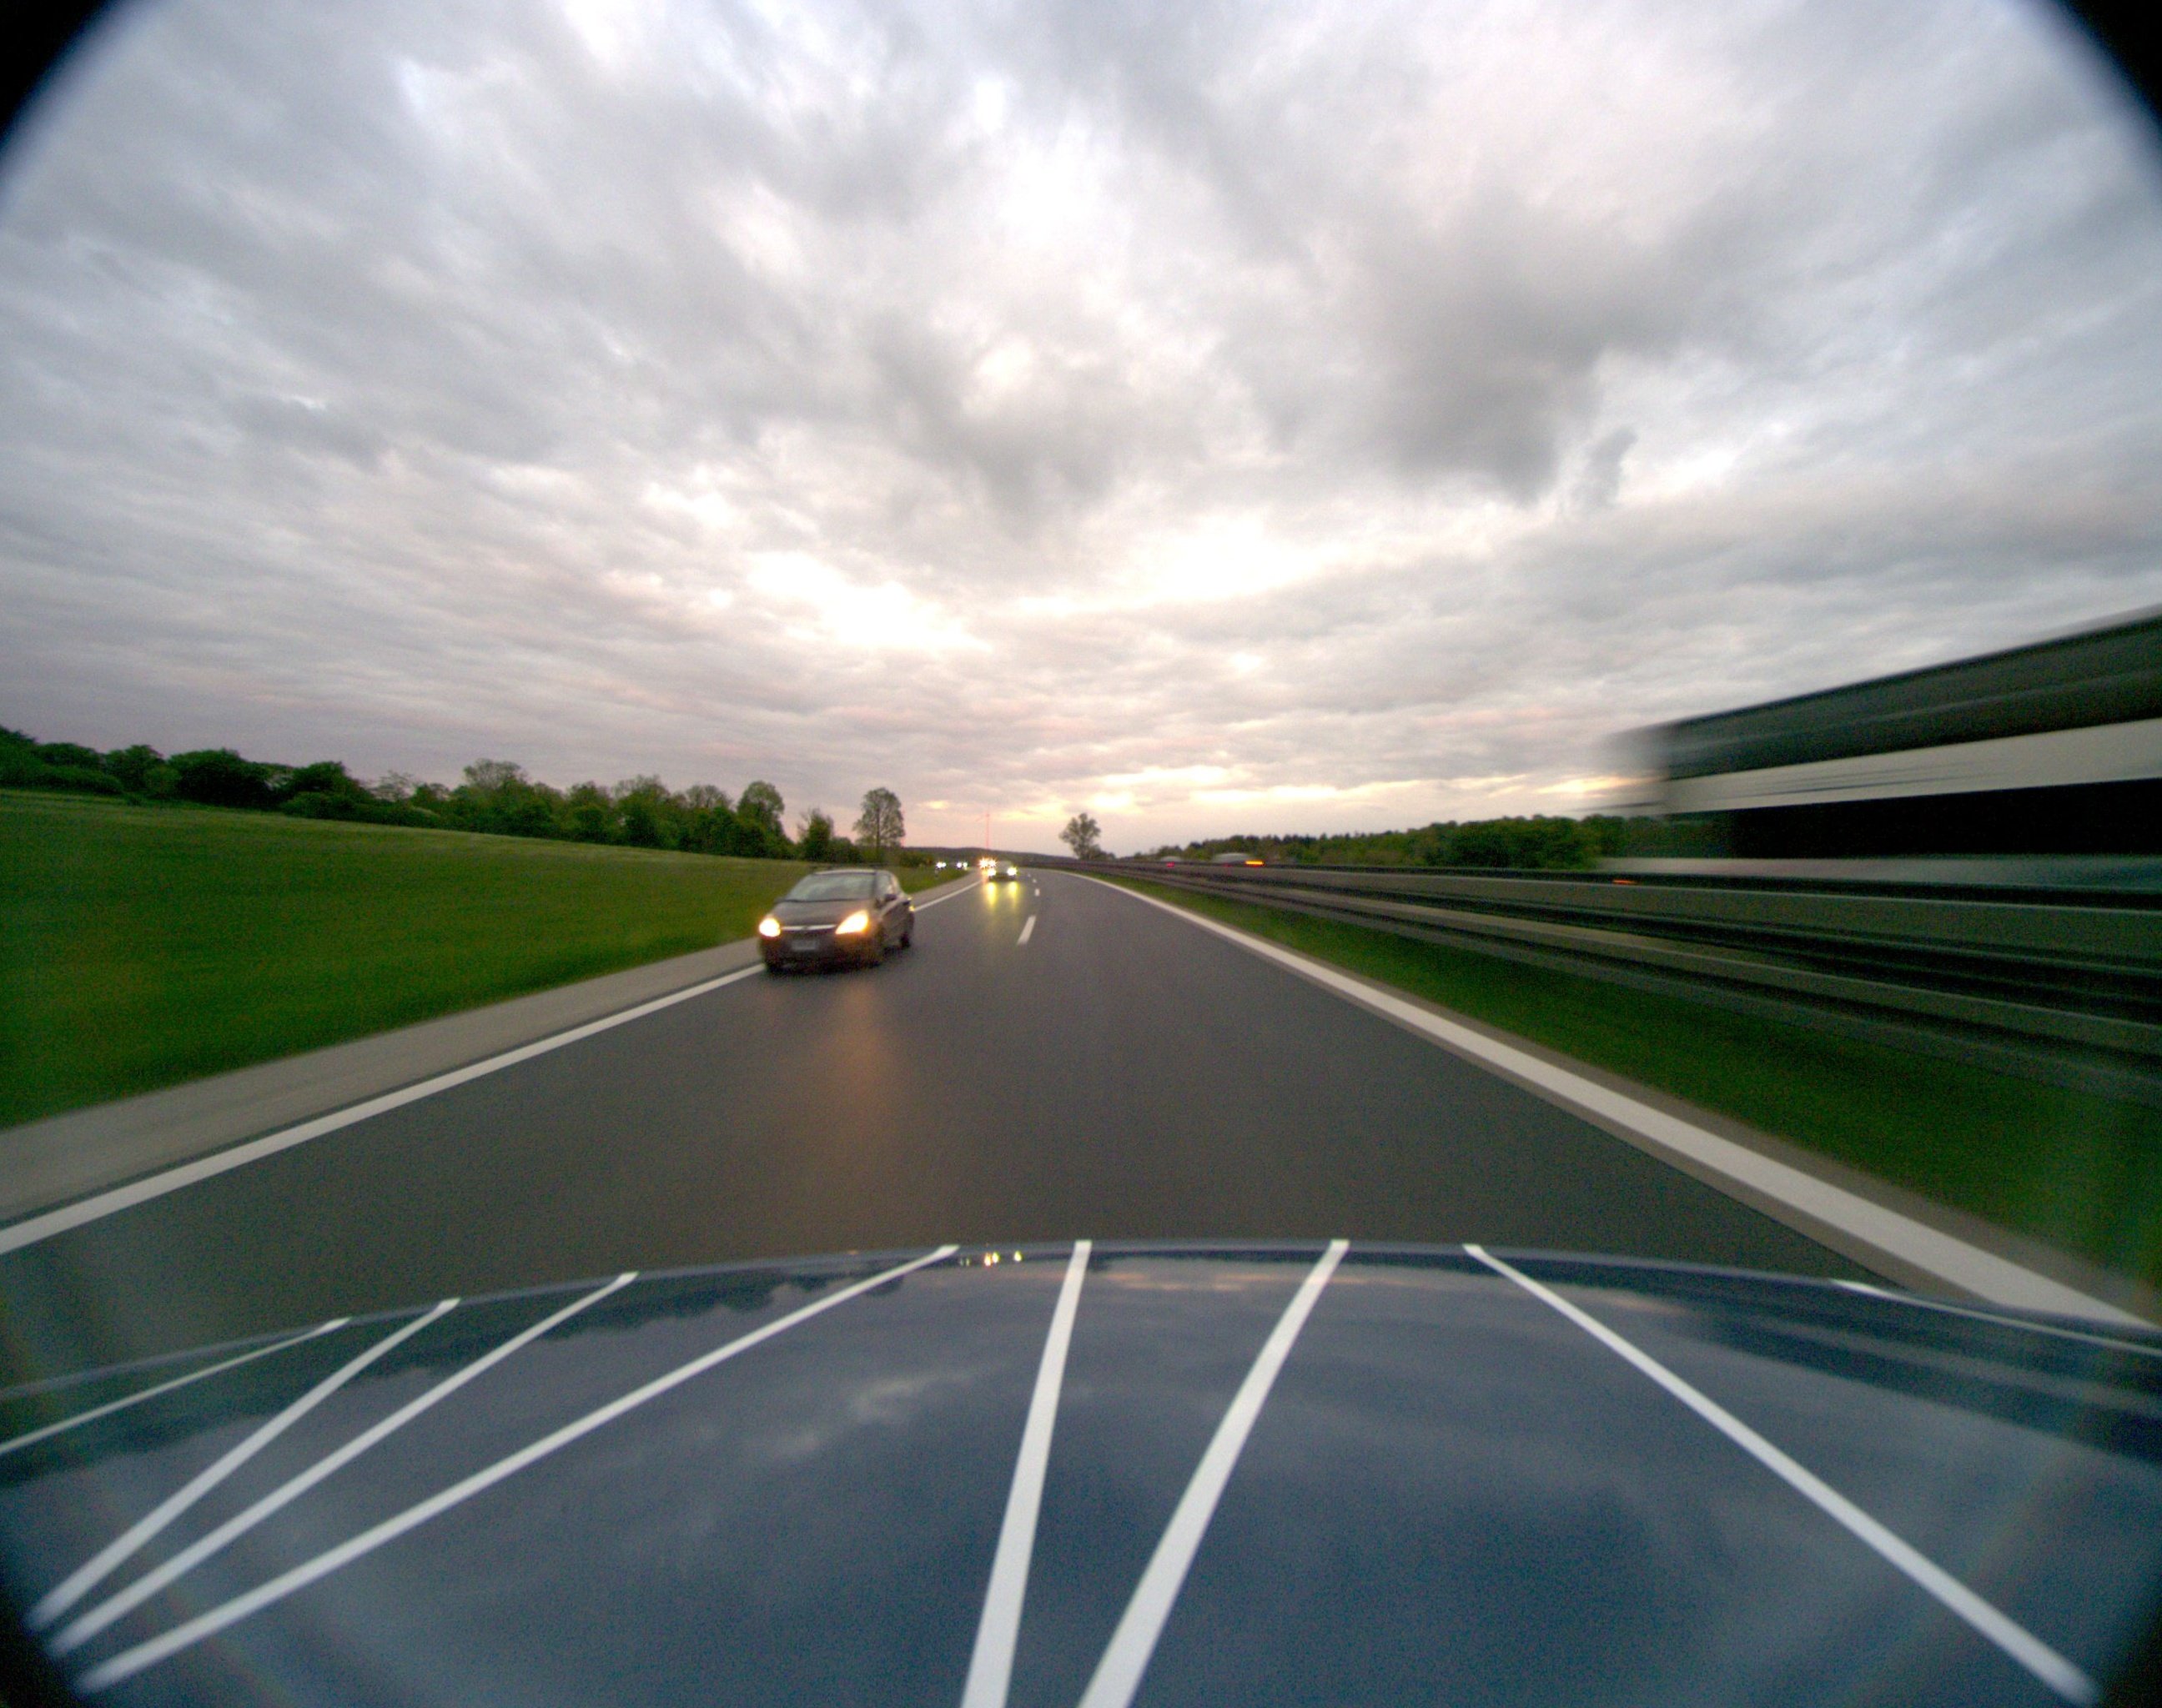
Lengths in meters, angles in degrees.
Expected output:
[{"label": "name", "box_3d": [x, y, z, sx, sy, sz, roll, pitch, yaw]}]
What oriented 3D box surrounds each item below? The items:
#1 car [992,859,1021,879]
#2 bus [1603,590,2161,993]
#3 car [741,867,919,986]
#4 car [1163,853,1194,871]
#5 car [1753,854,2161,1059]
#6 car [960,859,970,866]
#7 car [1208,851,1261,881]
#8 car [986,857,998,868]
[{"label": "car", "box_3d": [-5.398, 1.073, 55.673, 1.885, 1.388, 3.999, 0, 0, -2]}, {"label": "bus", "box_3d": [12.438, -0.682, 8.139, 3.174, 4.052, 14.807, -2, 1, -1]}, {"label": "car", "box_3d": [-3.878, 1.029, 12.464, 1.682, 1.504, 3.999, -2, 0, -2]}, {"label": "car", "box_3d": [8.622, 0.698, 67.623, 1.921, 1.501, 4.728, 0, 0, -3]}, {"label": "car", "box_3d": [8.704, 0.741, 6.688, 1.856, 1.466, 4.167, 0, 0, -1]}, {"label": "car", "box_3d": [-30.479, 2.198, 199.295, 1.805, 1.635, 4.088, -1, 1, -17]}, {"label": "car", "box_3d": [8.420, 0.636, 42.003, 1.636, 1.546, 4.467, 0, 0, -5]}, {"label": "car", "box_3d": [-15.688, 1.537, 133.639, 1.921, 1.827, 3.996, 0, 0, -11]}]
